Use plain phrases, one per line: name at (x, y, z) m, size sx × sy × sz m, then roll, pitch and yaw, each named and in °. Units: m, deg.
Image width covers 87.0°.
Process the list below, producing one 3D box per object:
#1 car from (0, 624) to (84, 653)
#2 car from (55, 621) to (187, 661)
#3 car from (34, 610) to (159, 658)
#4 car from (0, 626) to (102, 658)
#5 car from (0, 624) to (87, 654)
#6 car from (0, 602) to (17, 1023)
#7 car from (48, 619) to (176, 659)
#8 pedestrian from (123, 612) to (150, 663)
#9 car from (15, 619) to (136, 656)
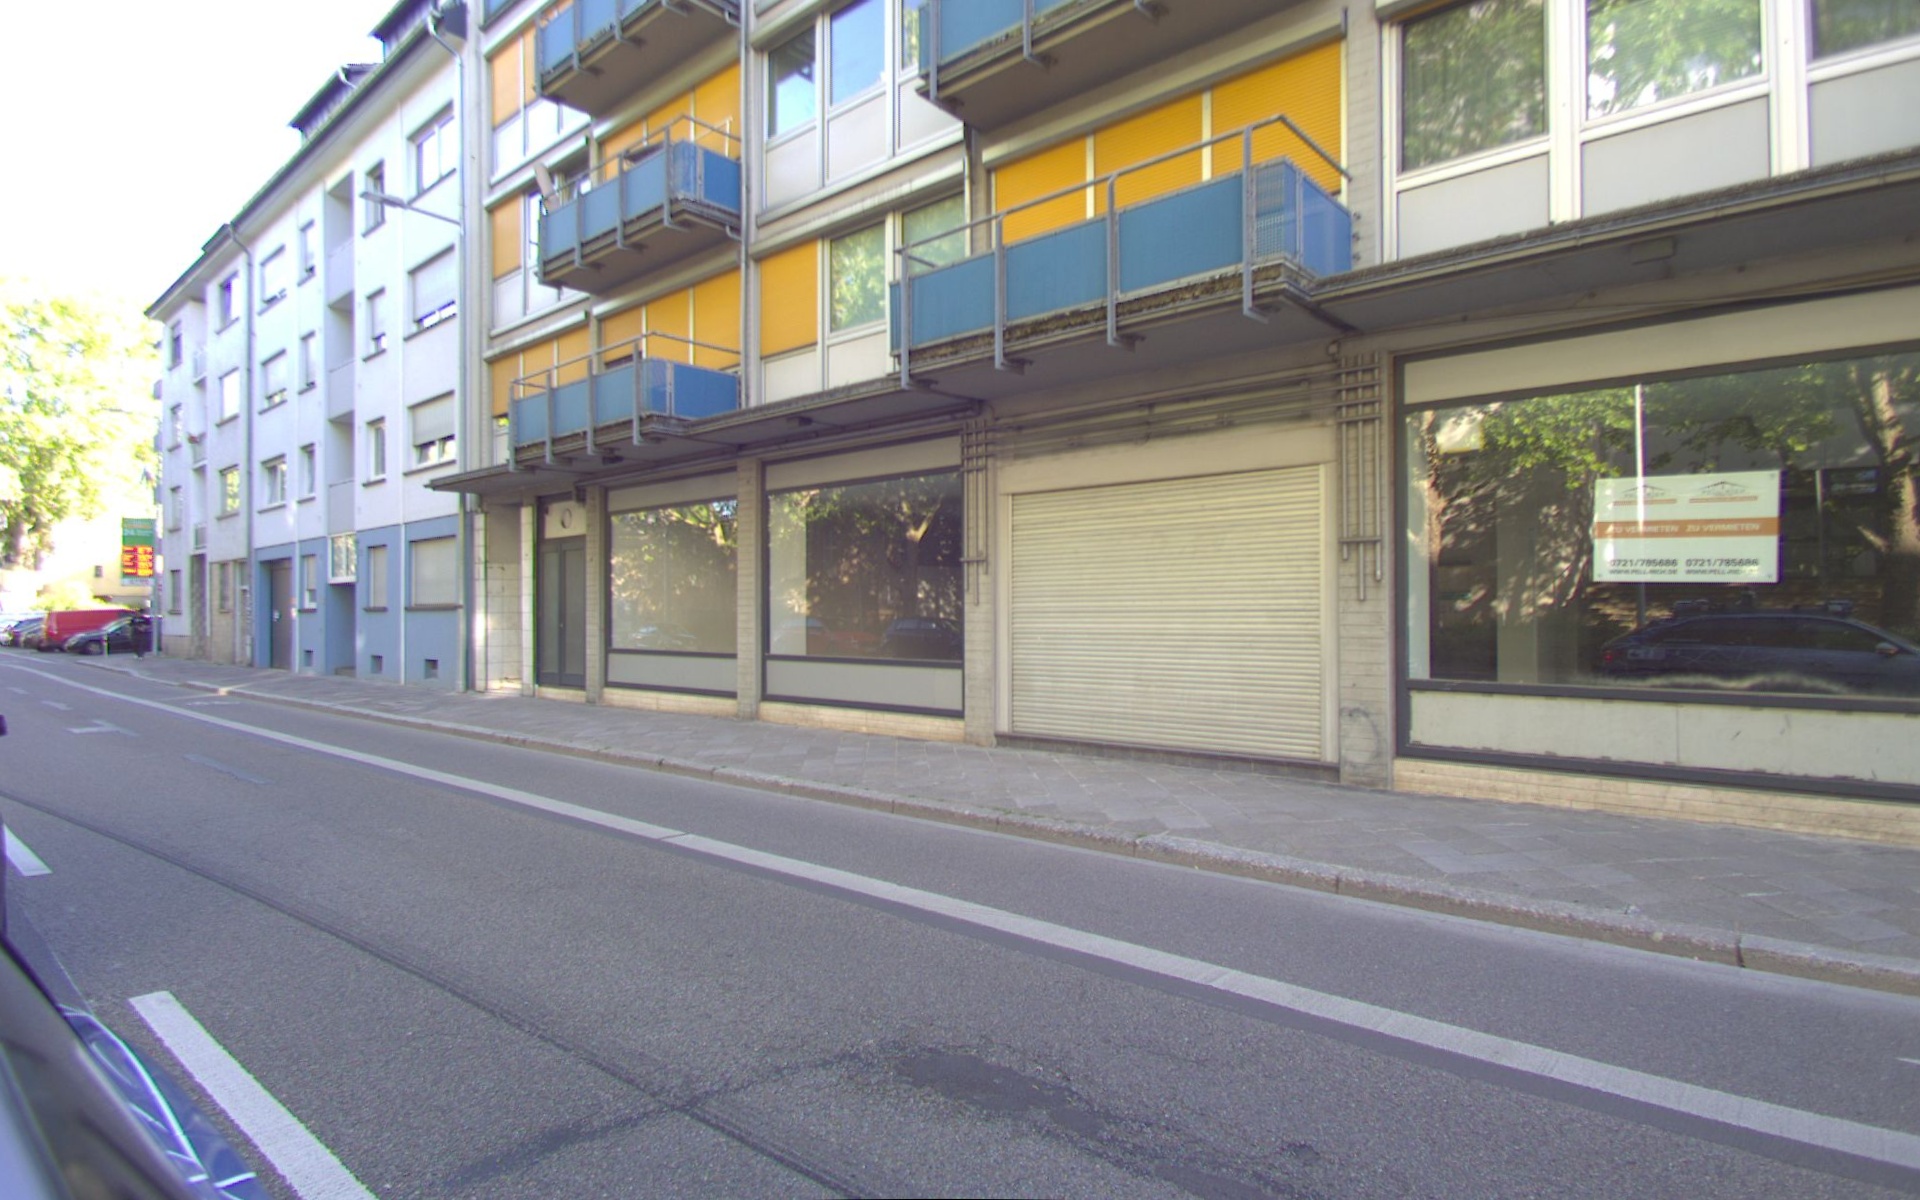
car at (-55.885, 2.302, 61.202) m, size 1.652 × 1.480 × 4.201 m, roll -1°, pitch 1°, yaw 41°
car at (-36.500, 1.745, 44.098) m, size 1.652 × 1.411 × 4.201 m, roll -1°, pitch 1°, yaw 41°
car at (-40.574, 1.560, 47.624) m, size 1.817 × 1.933 × 4.202 m, roll -2°, pitch 1°, yaw 40°
car at (-50.470, 2.295, 56.109) m, size 1.652 × 1.480 × 4.201 m, roll -1°, pitch 1°, yaw 41°
car at (-54.503, 2.281, 59.794) m, size 1.652 × 1.480 × 4.201 m, roll -1°, pitch 1°, yaw 41°
car at (-5.639, 0.798, 4.402) m, size 4.300 × 1.510 × 1.826 m, roll -1°, pitch -1°, yaw 41°
car at (-38.193, 1.733, 45.662) m, size 1.652 × 1.480 × 4.201 m, roll -1°, pitch 1°, yaw 41°
pedestrian at (-27.994, 1.279, 34.416) m, size 0.655 × 1.708 × 0.604 m, roll -2°, pitch -1°, yaw 41°
car at (-42.762, 1.792, 49.019) m, size 1.652 × 1.480 × 4.201 m, roll -1°, pitch 1°, yaw 41°
